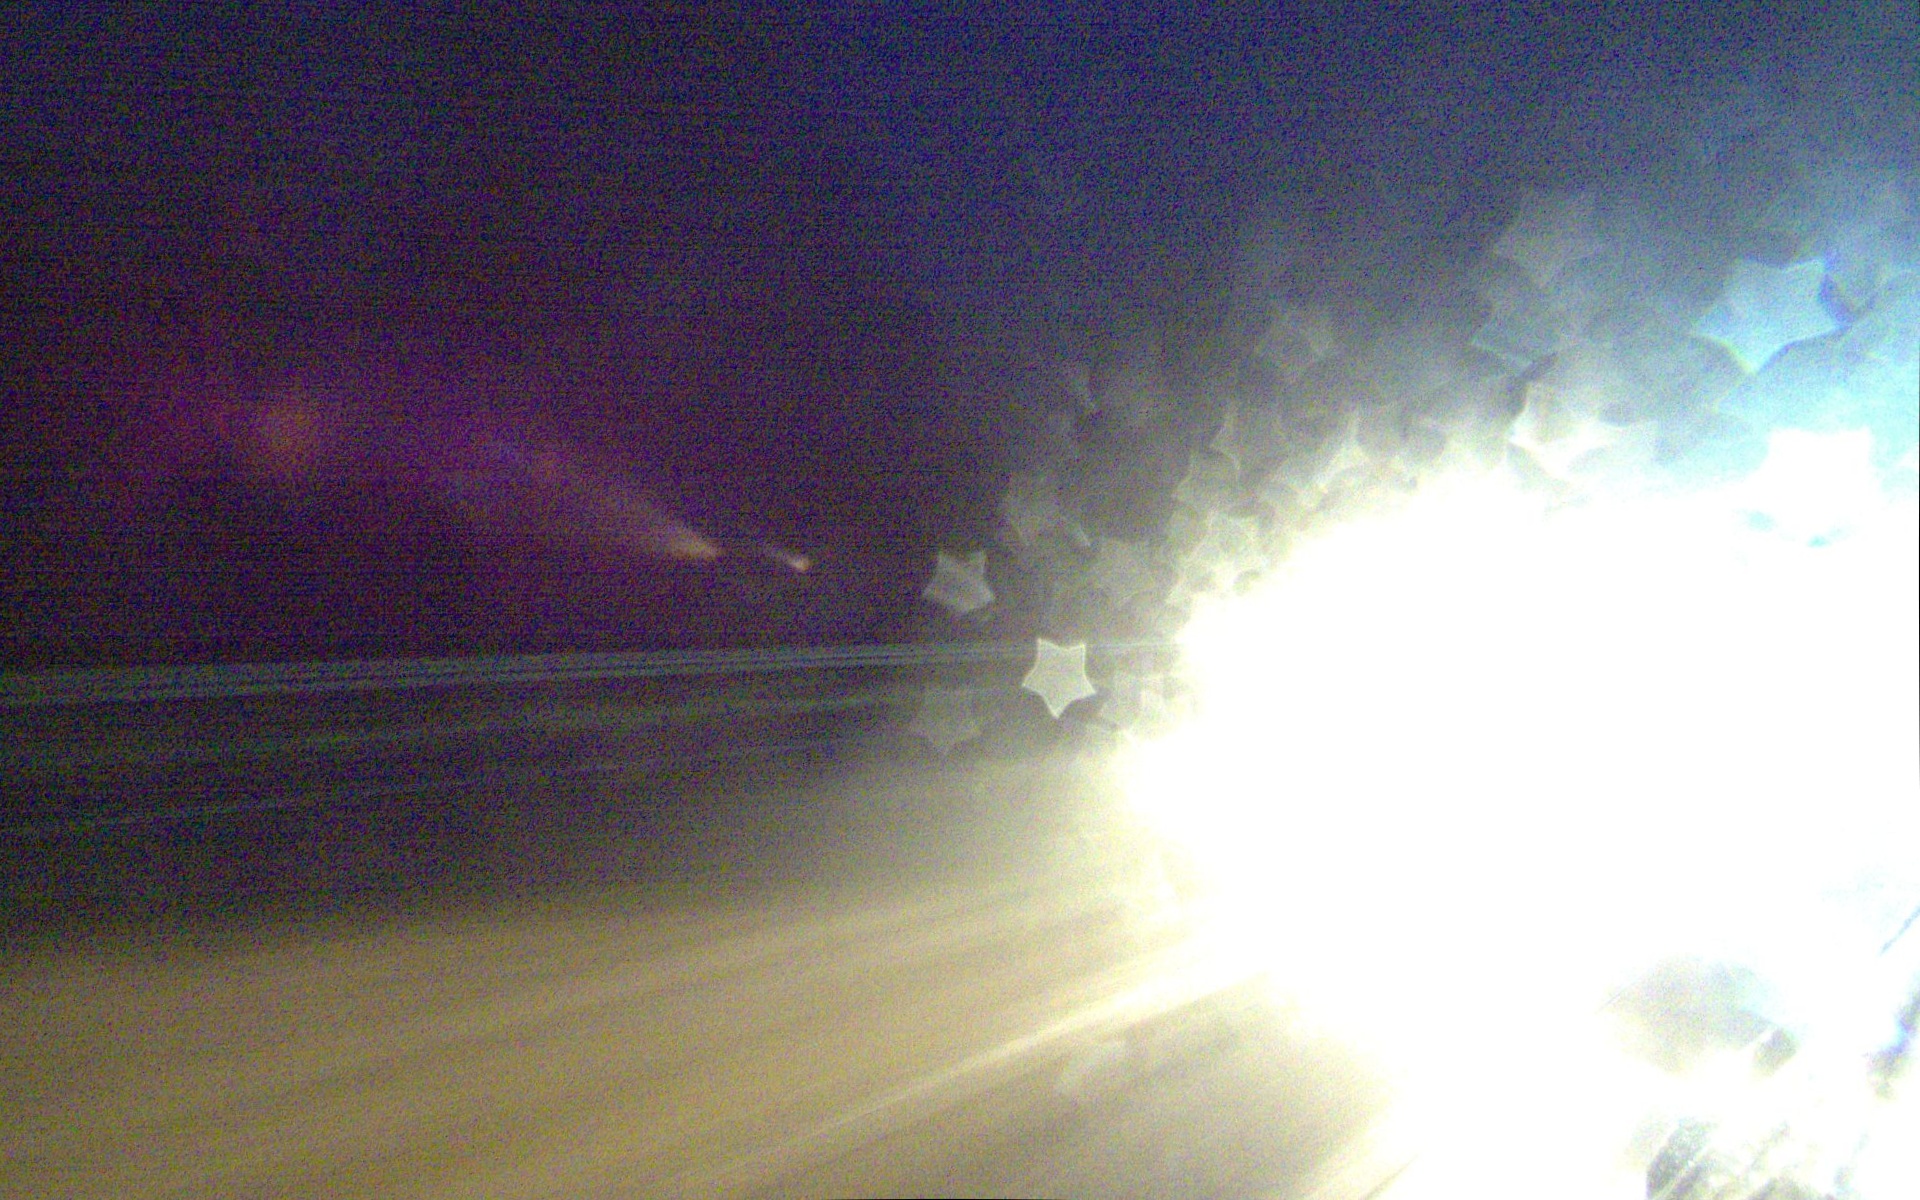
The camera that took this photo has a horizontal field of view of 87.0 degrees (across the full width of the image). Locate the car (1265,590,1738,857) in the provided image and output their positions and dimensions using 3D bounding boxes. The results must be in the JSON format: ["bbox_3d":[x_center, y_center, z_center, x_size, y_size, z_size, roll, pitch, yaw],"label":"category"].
[{"bbox_3d":[4.235,0.678,7.632,4.121,1.476,1.773,0,0,-40],"label":"car"}]
